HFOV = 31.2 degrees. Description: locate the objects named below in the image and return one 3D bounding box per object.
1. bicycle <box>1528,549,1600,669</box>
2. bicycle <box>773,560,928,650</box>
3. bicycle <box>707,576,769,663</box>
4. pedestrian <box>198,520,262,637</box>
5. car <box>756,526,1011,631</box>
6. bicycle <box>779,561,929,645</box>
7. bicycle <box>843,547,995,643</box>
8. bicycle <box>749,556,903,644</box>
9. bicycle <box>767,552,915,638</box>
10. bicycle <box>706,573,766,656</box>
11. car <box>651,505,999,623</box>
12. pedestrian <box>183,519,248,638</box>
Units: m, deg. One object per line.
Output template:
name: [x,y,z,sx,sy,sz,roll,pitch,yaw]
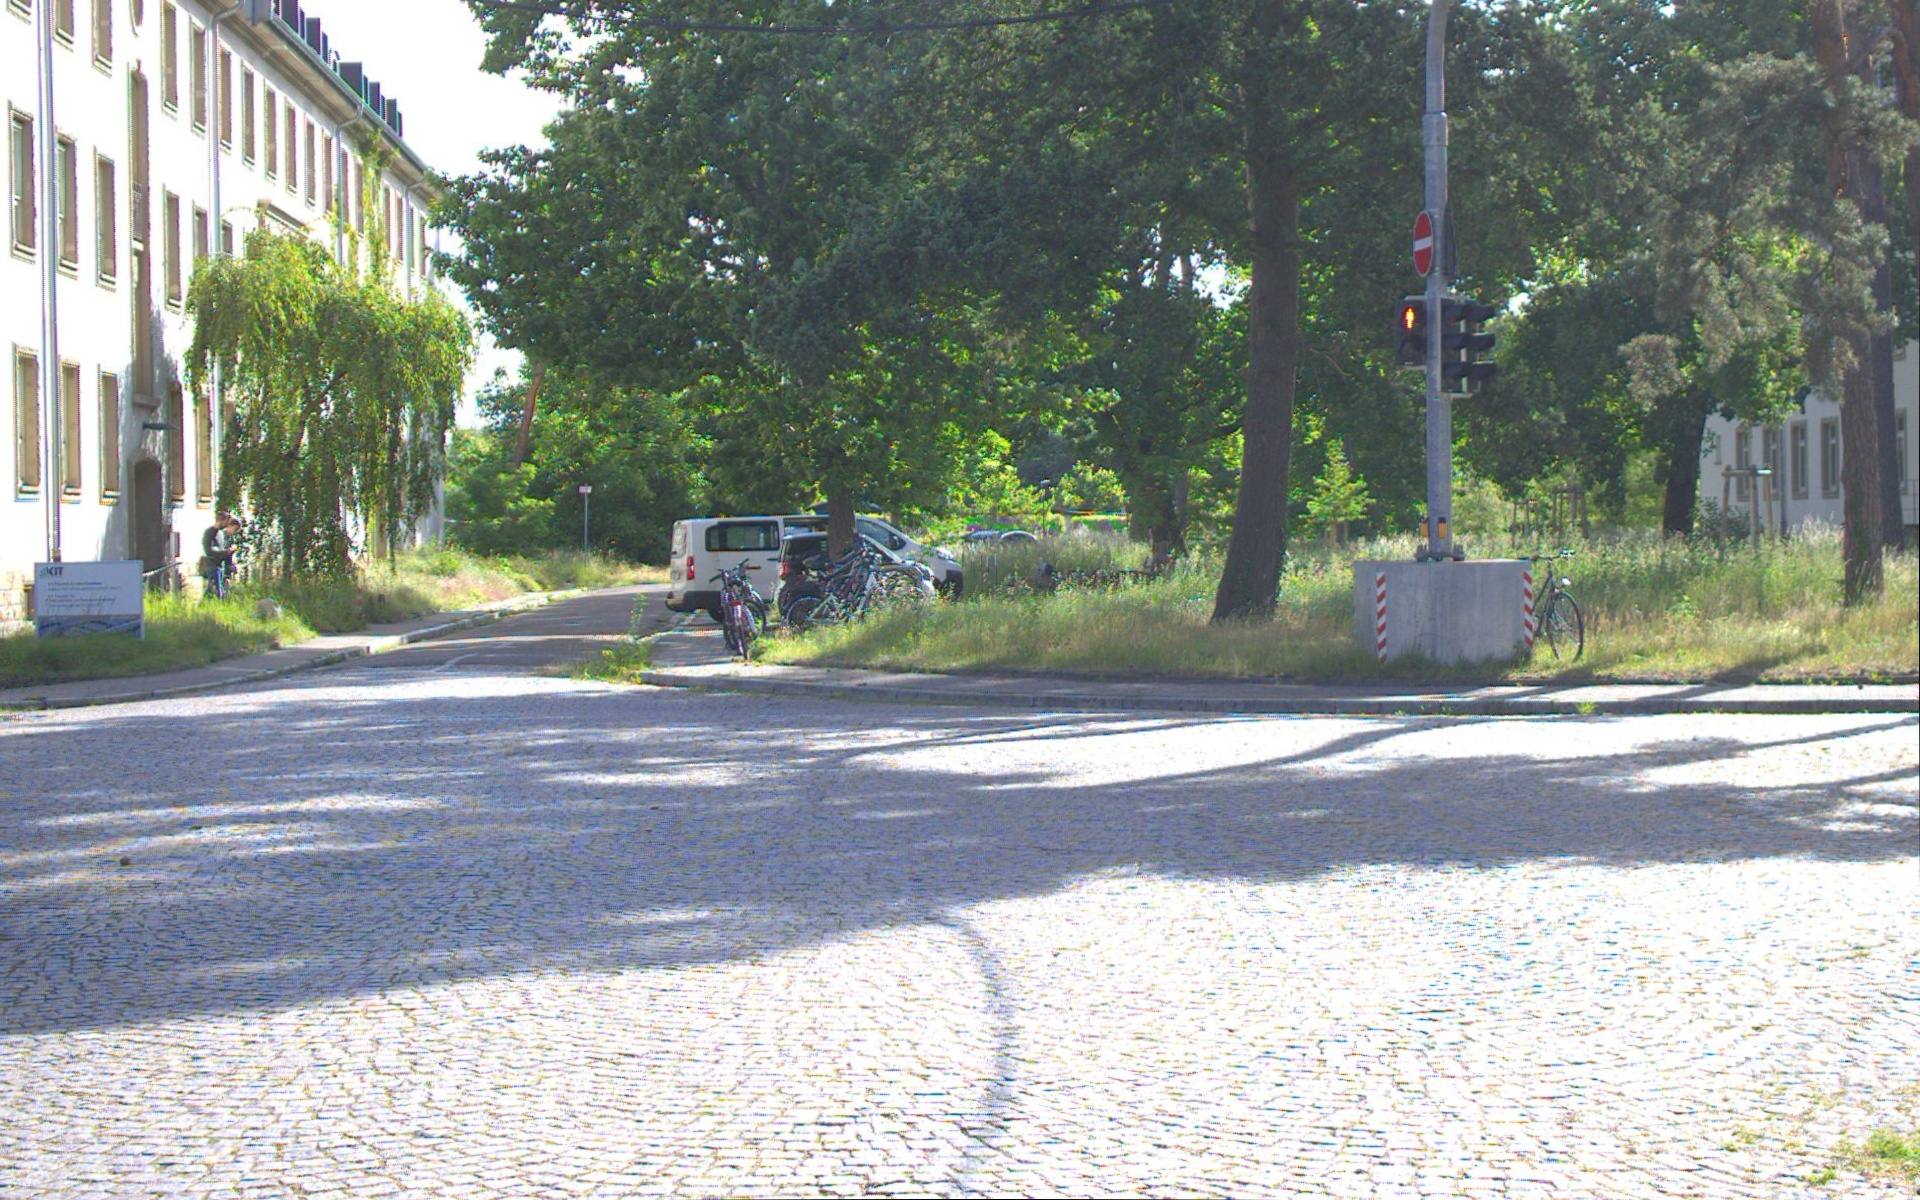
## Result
bicycle: [5.557,0.076,31.672,0.466,1.076,1.174,-1,1,1]
bicycle: [-1.421,0.058,44.357,1.940,1.125,0.750,-1,1,-5]
bicycle: [-2.594,0.211,40.038,0.695,0.968,1.861,0,1,-5]
pedestrian: [-11.407,-0.342,53.710,0.767,1.811,0.682,0,1,8]
car: [-1.294,-0.374,57.309,3.986,1.678,1.848,-1,1,-10]
bicycle: [-1.350,0.029,43.563,1.854,1.027,0.750,-1,1,-5]
bicycle: [-0.541,-0.075,45.090,1.940,1.231,0.485,-1,1,-5]
bicycle: [-1.773,-0.006,45.562,1.941,1.125,0.648,-1,1,-29]
bicycle: [-1.623,-0.072,46.659,1.940,1.125,0.648,-1,1,-7]
bicycle: [-2.743,0.164,41.971,0.695,0.968,1.861,0,1,-5]
car: [-2.448,-0.666,61.452,5.929,2.007,2.476,-1,1,-9]
pedestrian: [-11.468,-0.335,52.977,0.812,1.811,0.555,-1,1,8]
